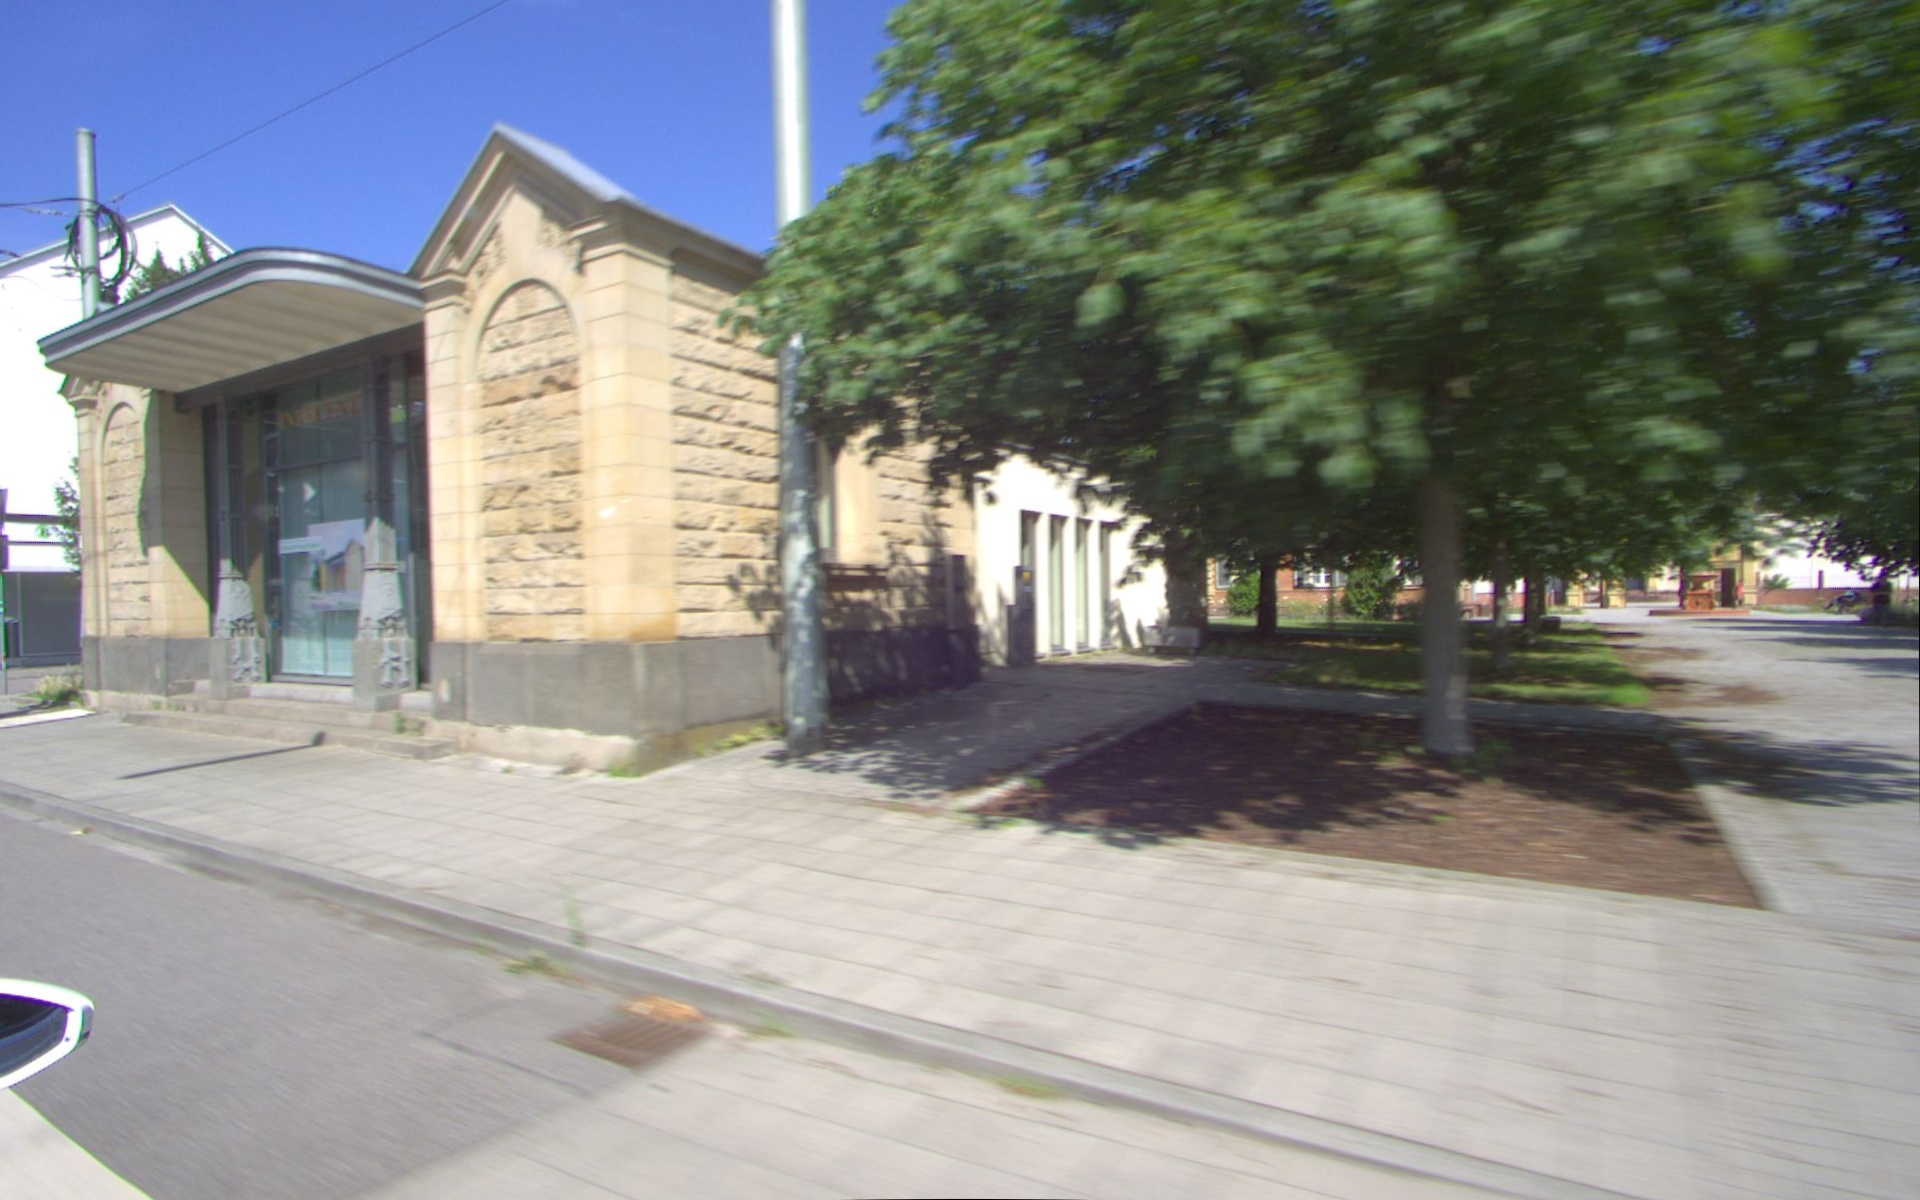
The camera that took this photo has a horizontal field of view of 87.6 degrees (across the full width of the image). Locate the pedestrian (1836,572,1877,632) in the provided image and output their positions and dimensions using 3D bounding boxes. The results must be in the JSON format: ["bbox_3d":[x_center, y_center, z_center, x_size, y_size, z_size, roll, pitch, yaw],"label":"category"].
[{"bbox_3d":[24.456,0.050,27.324,0.679,1.622,0.863,0,1,31],"label":"pedestrian"}]

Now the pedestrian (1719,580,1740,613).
[{"bbox_3d":[38.552,-0.192,50.180,0.734,1.622,0.619,0,1,25],"label":"pedestrian"}]

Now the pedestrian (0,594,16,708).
[{"bbox_3d":[-13.377,0.694,13.547,0.849,1.530,0.775,0,1,41],"label":"pedestrian"}]
